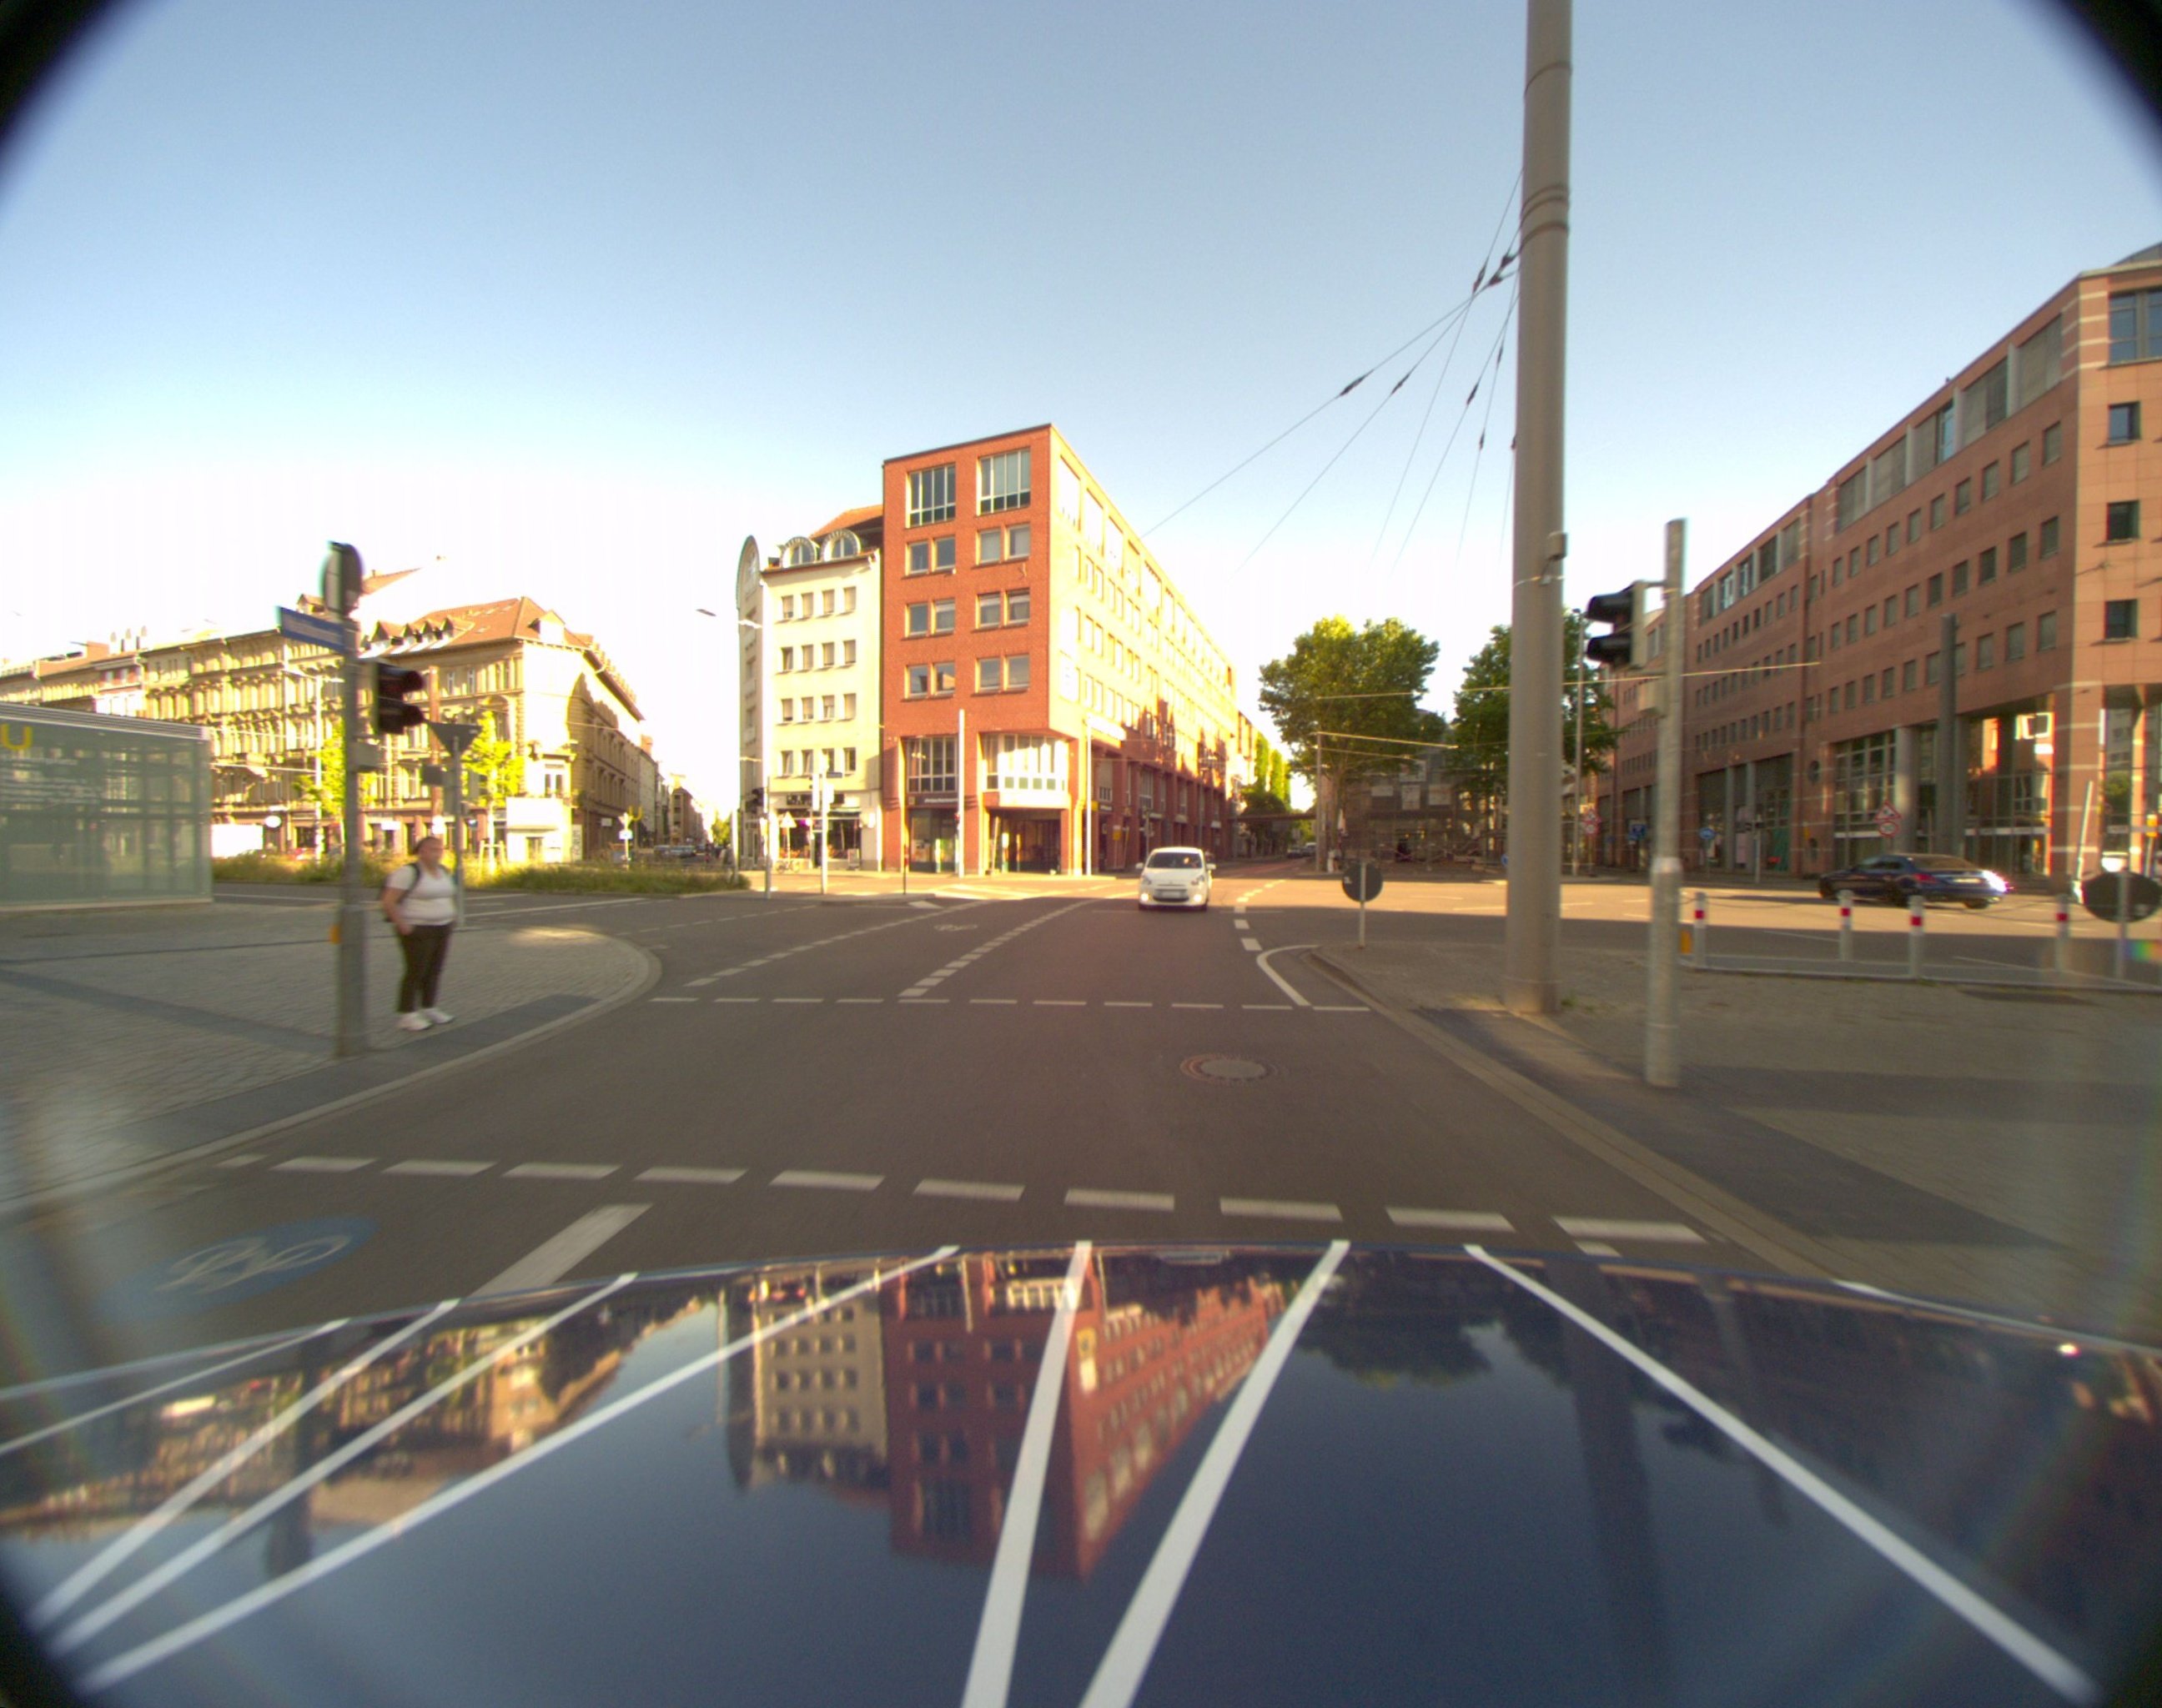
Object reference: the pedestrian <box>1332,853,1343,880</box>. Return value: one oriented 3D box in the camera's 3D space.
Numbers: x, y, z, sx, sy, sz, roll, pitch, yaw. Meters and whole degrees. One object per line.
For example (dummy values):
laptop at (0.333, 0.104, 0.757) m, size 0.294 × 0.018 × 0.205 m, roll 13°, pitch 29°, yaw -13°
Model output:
pedestrian at (15.826, 0.765, 46.924) m, size 0.567 × 1.670 × 0.531 m, roll 1°, pitch 2°, yaw 22°

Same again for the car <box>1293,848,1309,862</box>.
car at (33.877, 0.119, 117.102) m, size 1.920 × 2.067 × 5.177 m, roll 1°, pitch 1°, yaw 20°

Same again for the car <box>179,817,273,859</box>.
car at (-65.019, -1.254, 57.792) m, size 5.356 × 3.006 × 2.280 m, roll 1°, pitch 3°, yaw 11°

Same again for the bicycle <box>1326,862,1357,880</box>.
bicycle at (16.188, 1.064, 47.223) m, size 1.831 × 1.072 × 0.481 m, roll 1°, pitch 1°, yaw 22°

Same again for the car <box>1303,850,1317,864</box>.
car at (43.524, 0.458, 144.282) m, size 2.117 × 2.550 × 5.913 m, roll 1°, pitch 1°, yaw 21°

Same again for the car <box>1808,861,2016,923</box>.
car at (22.739, 0.955, 21.100) m, size 1.835 × 1.378 × 4.601 m, roll 1°, pitch 2°, yaw 18°

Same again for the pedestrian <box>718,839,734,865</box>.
pedestrian at (-22.426, -0.134, 48.041) m, size 0.694 × 1.629 × 0.959 m, roll -2°, pitch 3°, yaw -38°

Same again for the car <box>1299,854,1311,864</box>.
car at (37.988, 0.782, 128.801) m, size 1.789 × 1.660 × 4.446 m, roll 1°, pitch 1°, yaw 20°

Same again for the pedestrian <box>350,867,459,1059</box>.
pedestrian at (-5.907, 0.915, 6.666) m, size 0.541 × 1.574 × 0.556 m, roll 0°, pitch 1°, yaw -22°

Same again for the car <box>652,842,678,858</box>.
car at (-40.378, -0.377, 73.847) m, size 1.730 × 1.513 × 3.992 m, roll 1°, pitch 0°, yaw -22°

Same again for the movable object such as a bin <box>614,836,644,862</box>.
movable object such as a bin at (-31.611, -0.337, 53.163) m, size 1.652 × 1.773 × 1.398 m, roll -2°, pitch 1°, yaw -28°

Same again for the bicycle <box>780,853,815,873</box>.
bicycle at (-15.040, 0.468, 40.297) m, size 1.861 × 0.985 × 0.460 m, roll 1°, pitch 4°, yaw 21°

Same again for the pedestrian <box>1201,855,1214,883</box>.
pedestrian at (8.030, 0.948, 48.305) m, size 0.634 × 1.715 × 0.631 m, roll 1°, pitch 1°, yaw 32°

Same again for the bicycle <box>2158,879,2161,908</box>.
bicycle at (34.806, 1.249, 23.339) m, size 1.960 × 0.907 × 0.584 m, roll 0°, pitch 1°, yaw 23°

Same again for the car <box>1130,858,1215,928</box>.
car at (2.451, 0.895, 19.412) m, size 1.806 × 1.492 × 4.204 m, roll 1°, pitch 1°, yaw 11°

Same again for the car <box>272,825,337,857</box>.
car at (-55.114, -0.955, 53.921) m, size 3.918 × 2.169 × 1.815 m, roll 2°, pitch 3°, yaw 22°

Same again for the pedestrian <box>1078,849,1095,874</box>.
pedestrian at (0.349, 0.456, 49.119) m, size 0.847 × 1.580 × 0.753 m, roll 0°, pitch 1°, yaw -19°

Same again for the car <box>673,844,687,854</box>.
car at (-48.505, -0.575, 91.897) m, size 1.425 × 1.253 × 2.951 m, roll 0°, pitch 0°, yaw -27°

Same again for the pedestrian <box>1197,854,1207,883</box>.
pedestrian at (7.522, 0.902, 47.124) m, size 0.476 × 1.782 × 0.542 m, roll 1°, pitch 1°, yaw 21°

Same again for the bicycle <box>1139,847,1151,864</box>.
bicycle at (4.772, 0.126, 56.412) m, size 0.340 × 1.249 × 1.713 m, roll 1°, pitch 1°, yaw 22°

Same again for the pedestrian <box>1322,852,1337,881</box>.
pedestrian at (15.169, 0.749, 46.386) m, size 0.778 × 1.724 × 0.849 m, roll 1°, pitch 1°, yaw 18°
